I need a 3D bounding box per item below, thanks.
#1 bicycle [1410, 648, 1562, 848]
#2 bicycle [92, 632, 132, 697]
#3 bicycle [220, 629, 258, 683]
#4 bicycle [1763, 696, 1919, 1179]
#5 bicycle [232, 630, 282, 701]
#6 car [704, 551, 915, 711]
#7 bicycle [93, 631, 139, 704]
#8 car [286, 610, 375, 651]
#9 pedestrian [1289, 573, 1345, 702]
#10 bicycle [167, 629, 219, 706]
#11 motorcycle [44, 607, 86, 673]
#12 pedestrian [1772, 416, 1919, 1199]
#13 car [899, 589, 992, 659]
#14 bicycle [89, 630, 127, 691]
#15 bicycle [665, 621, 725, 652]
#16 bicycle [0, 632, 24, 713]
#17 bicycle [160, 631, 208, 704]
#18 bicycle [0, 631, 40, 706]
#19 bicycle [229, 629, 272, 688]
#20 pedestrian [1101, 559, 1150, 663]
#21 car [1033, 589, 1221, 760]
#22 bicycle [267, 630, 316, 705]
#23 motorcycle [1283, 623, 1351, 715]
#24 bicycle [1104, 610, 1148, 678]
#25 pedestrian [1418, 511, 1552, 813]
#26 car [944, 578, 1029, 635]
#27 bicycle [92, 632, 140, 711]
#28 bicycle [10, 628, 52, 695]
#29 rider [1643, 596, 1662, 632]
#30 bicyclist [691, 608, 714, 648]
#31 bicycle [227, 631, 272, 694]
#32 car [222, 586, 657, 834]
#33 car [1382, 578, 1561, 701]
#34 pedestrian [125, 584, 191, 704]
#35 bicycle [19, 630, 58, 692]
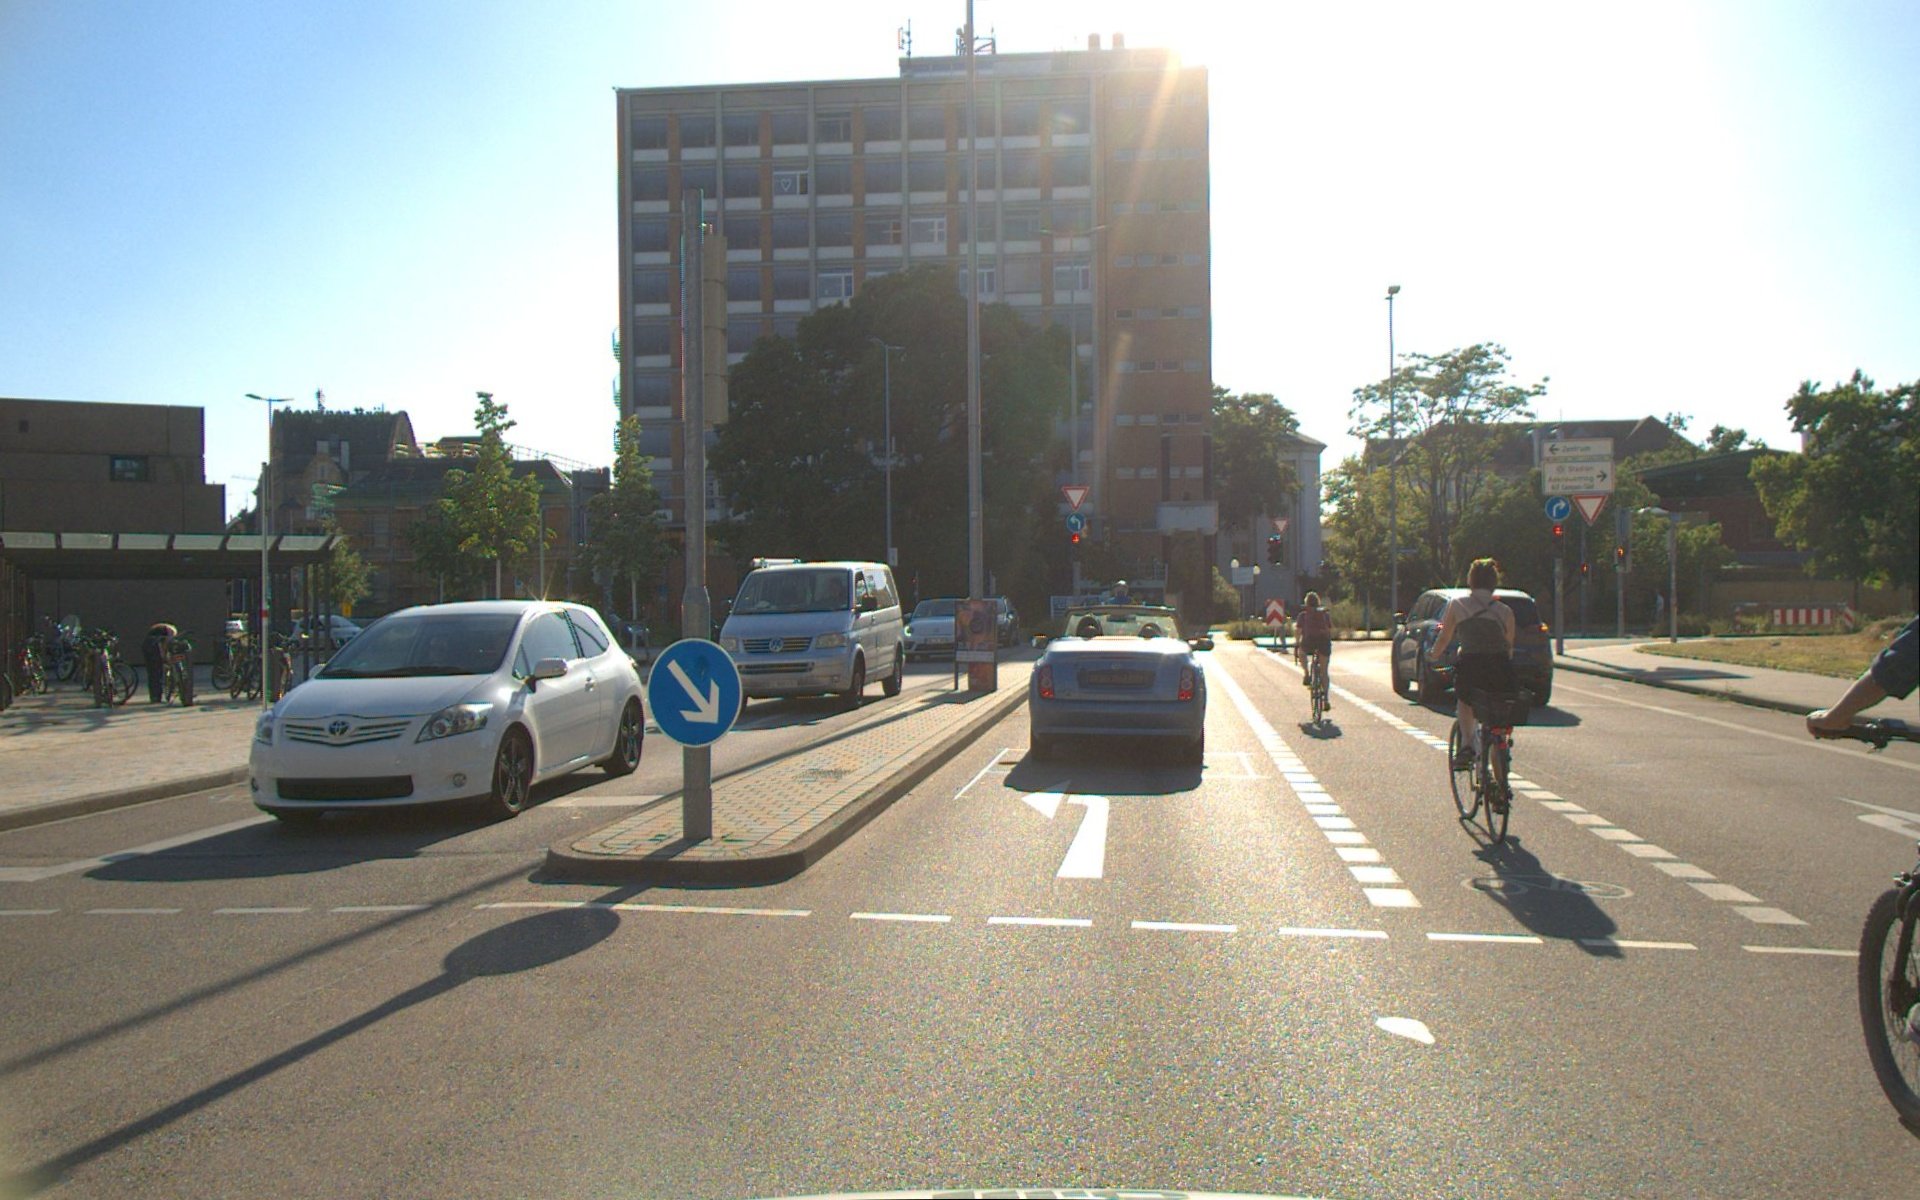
[{"bbox_3d":[3.435,0.917,10.938,0.552,1.171,1.951,1,-1,6],"label":"bicycle"},{"bbox_3d":[-15.605,1.169,30.421,0.600,1.134,1.879,1,-1,-28],"label":"bicycle"},{"bbox_3d":[-15.878,1.224,36.420,0.600,1.134,1.879,1,-1,-28],"label":"bicycle"},{"bbox_3d":[2.720,0.886,4.054,0.542,1.192,2.374,1,-1,5],"label":"bicycle"},{"bbox_3d":[-11.949,1.093,28.087,0.600,1.134,1.879,1,-1,-28],"label":"bicycle"},{"bbox_3d":[-1.999,0.400,23.477,1.868,1.979,4.710,-2,0,8],"label":"car"},{"bbox_3d":[-13.838,1.091,27.104,0.600,1.134,1.879,1,-1,-28],"label":"bicycle"},{"bbox_3d":[-25.369,1.243,66.647,3.526,1.588,1.639,-1,0,35],"label":"car"},{"bbox_3d":[4.598,0.480,21.359,0.575,1.626,1.025,1,-1,6],"label":"pedestrian"},{"bbox_3d":[-11.915,1.029,25.682,0.600,1.134,1.879,1,-1,-28],"label":"bicycle"},{"bbox_3d":[-19.909,0.879,36.789,0.758,1.414,1.878,2,-1,-30],"label":"motorcycle"},{"bbox_3d":[2.693,0.521,4.233,0.789,1.902,0.956,1,-1,3],"label":"pedestrian"},{"bbox_3d":[-0.286,0.546,39.799,1.761,1.557,4.003,-2,0,6],"label":"car"},{"bbox_3d":[-16.584,1.158,32.172,0.600,1.134,1.879,1,-1,-28],"label":"bicycle"},{"bbox_3d":[-10.842,1.487,67.775,2.355,1.212,0.610,1,-1,14],"label":"bicycle"},{"bbox_3d":[-14.218,1.056,24.444,0.600,1.134,1.879,1,-1,-28],"label":"bicycle"},{"bbox_3d":[-12.865,1.100,27.400,0.600,1.134,1.879,1,-1,-28],"label":"bicycle"},{"bbox_3d":[-15.037,1.076,26.357,0.600,1.134,1.879,1,-1,-28],"label":"bicycle"},{"bbox_3d":[-14.279,1.161,33.262,0.600,1.134,1.879,1,-1,-28],"label":"bicycle"},{"bbox_3d":[3.100,0.204,30.976,0.815,1.902,0.921,1,-1,11],"label":"pedestrian"},{"bbox_3d":[1.649,0.681,16.578,1.625,1.466,4.156,1,-1,5],"label":"car"},{"bbox_3d":[-10.672,1.060,26.381,0.599,1.134,1.881,1,-1,-26],"label":"bicycle"},{"bbox_3d":[4.607,0.866,21.442,0.600,1.117,2.361,1,-1,6],"label":"motorcycle"},{"bbox_3d":[3.130,0.821,31.093,0.595,1.212,2.416,1,-1,11],"label":"bicycle"},{"bbox_3d":[3.444,0.394,10.897,0.645,1.902,0.873,1,-1,4],"label":"pedestrian"},{"bbox_3d":[0.836,0.170,48.991,1.760,1.557,4.004,-2,0,12],"label":"car"},{"bbox_3d":[-12.886,1.067,25.234,0.600,1.134,1.879,1,-1,-28],"label":"bicycle"},{"bbox_3d":[-16.734,1.092,29.811,0.600,1.134,1.879,1,-1,-28],"label":"bicycle"},{"bbox_3d":[31.411,0.638,75.008,0.736,1.626,0.590,1,-1,19],"label":"rider"},{"bbox_3d":[-10.545,1.143,67.642,0.735,1.626,0.590,1,-1,13],"label":"bicyclist"},{"bbox_3d":[-13.509,1.169,31.446,0.600,1.134,1.879,1,-1,-28],"label":"bicycle"},{"bbox_3d":[-3.743,0.714,12.680,1.658,1.588,3.983,-1,0,7],"label":"car"},{"bbox_3d":[7.805,0.596,25.635,1.792,1.719,4.371,1,-1,5],"label":"car"},{"bbox_3d":[-12.928,0.707,26.654,0.891,1.902,0.680,2,-1,-29],"label":"pedestrian"},{"bbox_3d":[-17.634,1.156,31.679,0.600,1.134,1.879,1,-1,-28],"label":"bicycle"}]
